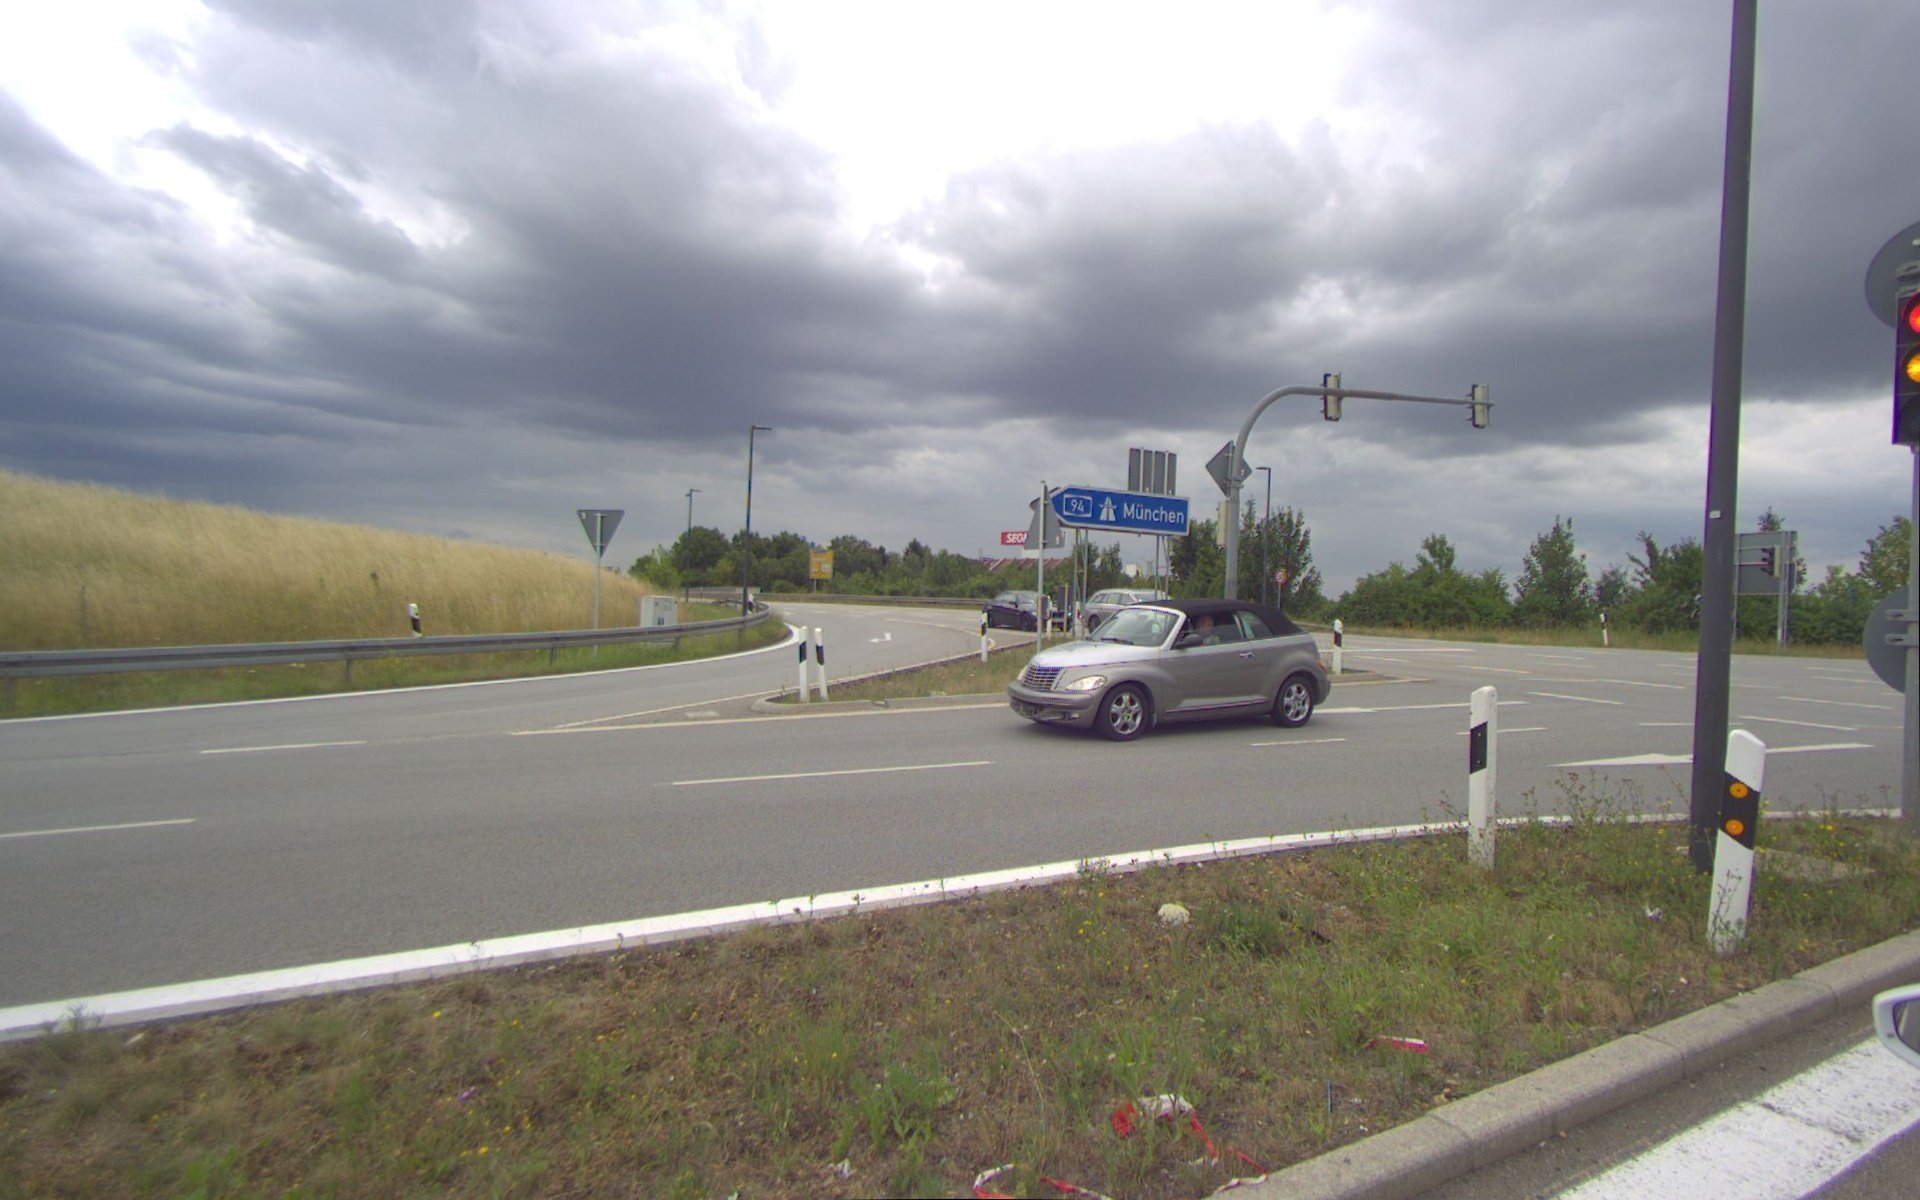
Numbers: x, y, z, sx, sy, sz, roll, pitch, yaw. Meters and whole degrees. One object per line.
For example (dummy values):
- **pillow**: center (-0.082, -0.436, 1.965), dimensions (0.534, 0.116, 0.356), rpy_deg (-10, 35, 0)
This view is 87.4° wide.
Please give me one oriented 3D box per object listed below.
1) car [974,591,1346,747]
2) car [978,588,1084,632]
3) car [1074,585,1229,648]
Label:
- **car**: center (2.425, 0.689, 11.926), dimensions (4.192, 1.541, 1.801), rpy_deg (0, 1, -30)
- **car**: center (2.444, 0.313, 35.855), dimensions (1.690, 1.429, 4.643), rpy_deg (2, 0, -26)
- **car**: center (5.440, 0.399, 29.334), dimensions (1.895, 1.632, 4.916), rpy_deg (0, 1, -26)
